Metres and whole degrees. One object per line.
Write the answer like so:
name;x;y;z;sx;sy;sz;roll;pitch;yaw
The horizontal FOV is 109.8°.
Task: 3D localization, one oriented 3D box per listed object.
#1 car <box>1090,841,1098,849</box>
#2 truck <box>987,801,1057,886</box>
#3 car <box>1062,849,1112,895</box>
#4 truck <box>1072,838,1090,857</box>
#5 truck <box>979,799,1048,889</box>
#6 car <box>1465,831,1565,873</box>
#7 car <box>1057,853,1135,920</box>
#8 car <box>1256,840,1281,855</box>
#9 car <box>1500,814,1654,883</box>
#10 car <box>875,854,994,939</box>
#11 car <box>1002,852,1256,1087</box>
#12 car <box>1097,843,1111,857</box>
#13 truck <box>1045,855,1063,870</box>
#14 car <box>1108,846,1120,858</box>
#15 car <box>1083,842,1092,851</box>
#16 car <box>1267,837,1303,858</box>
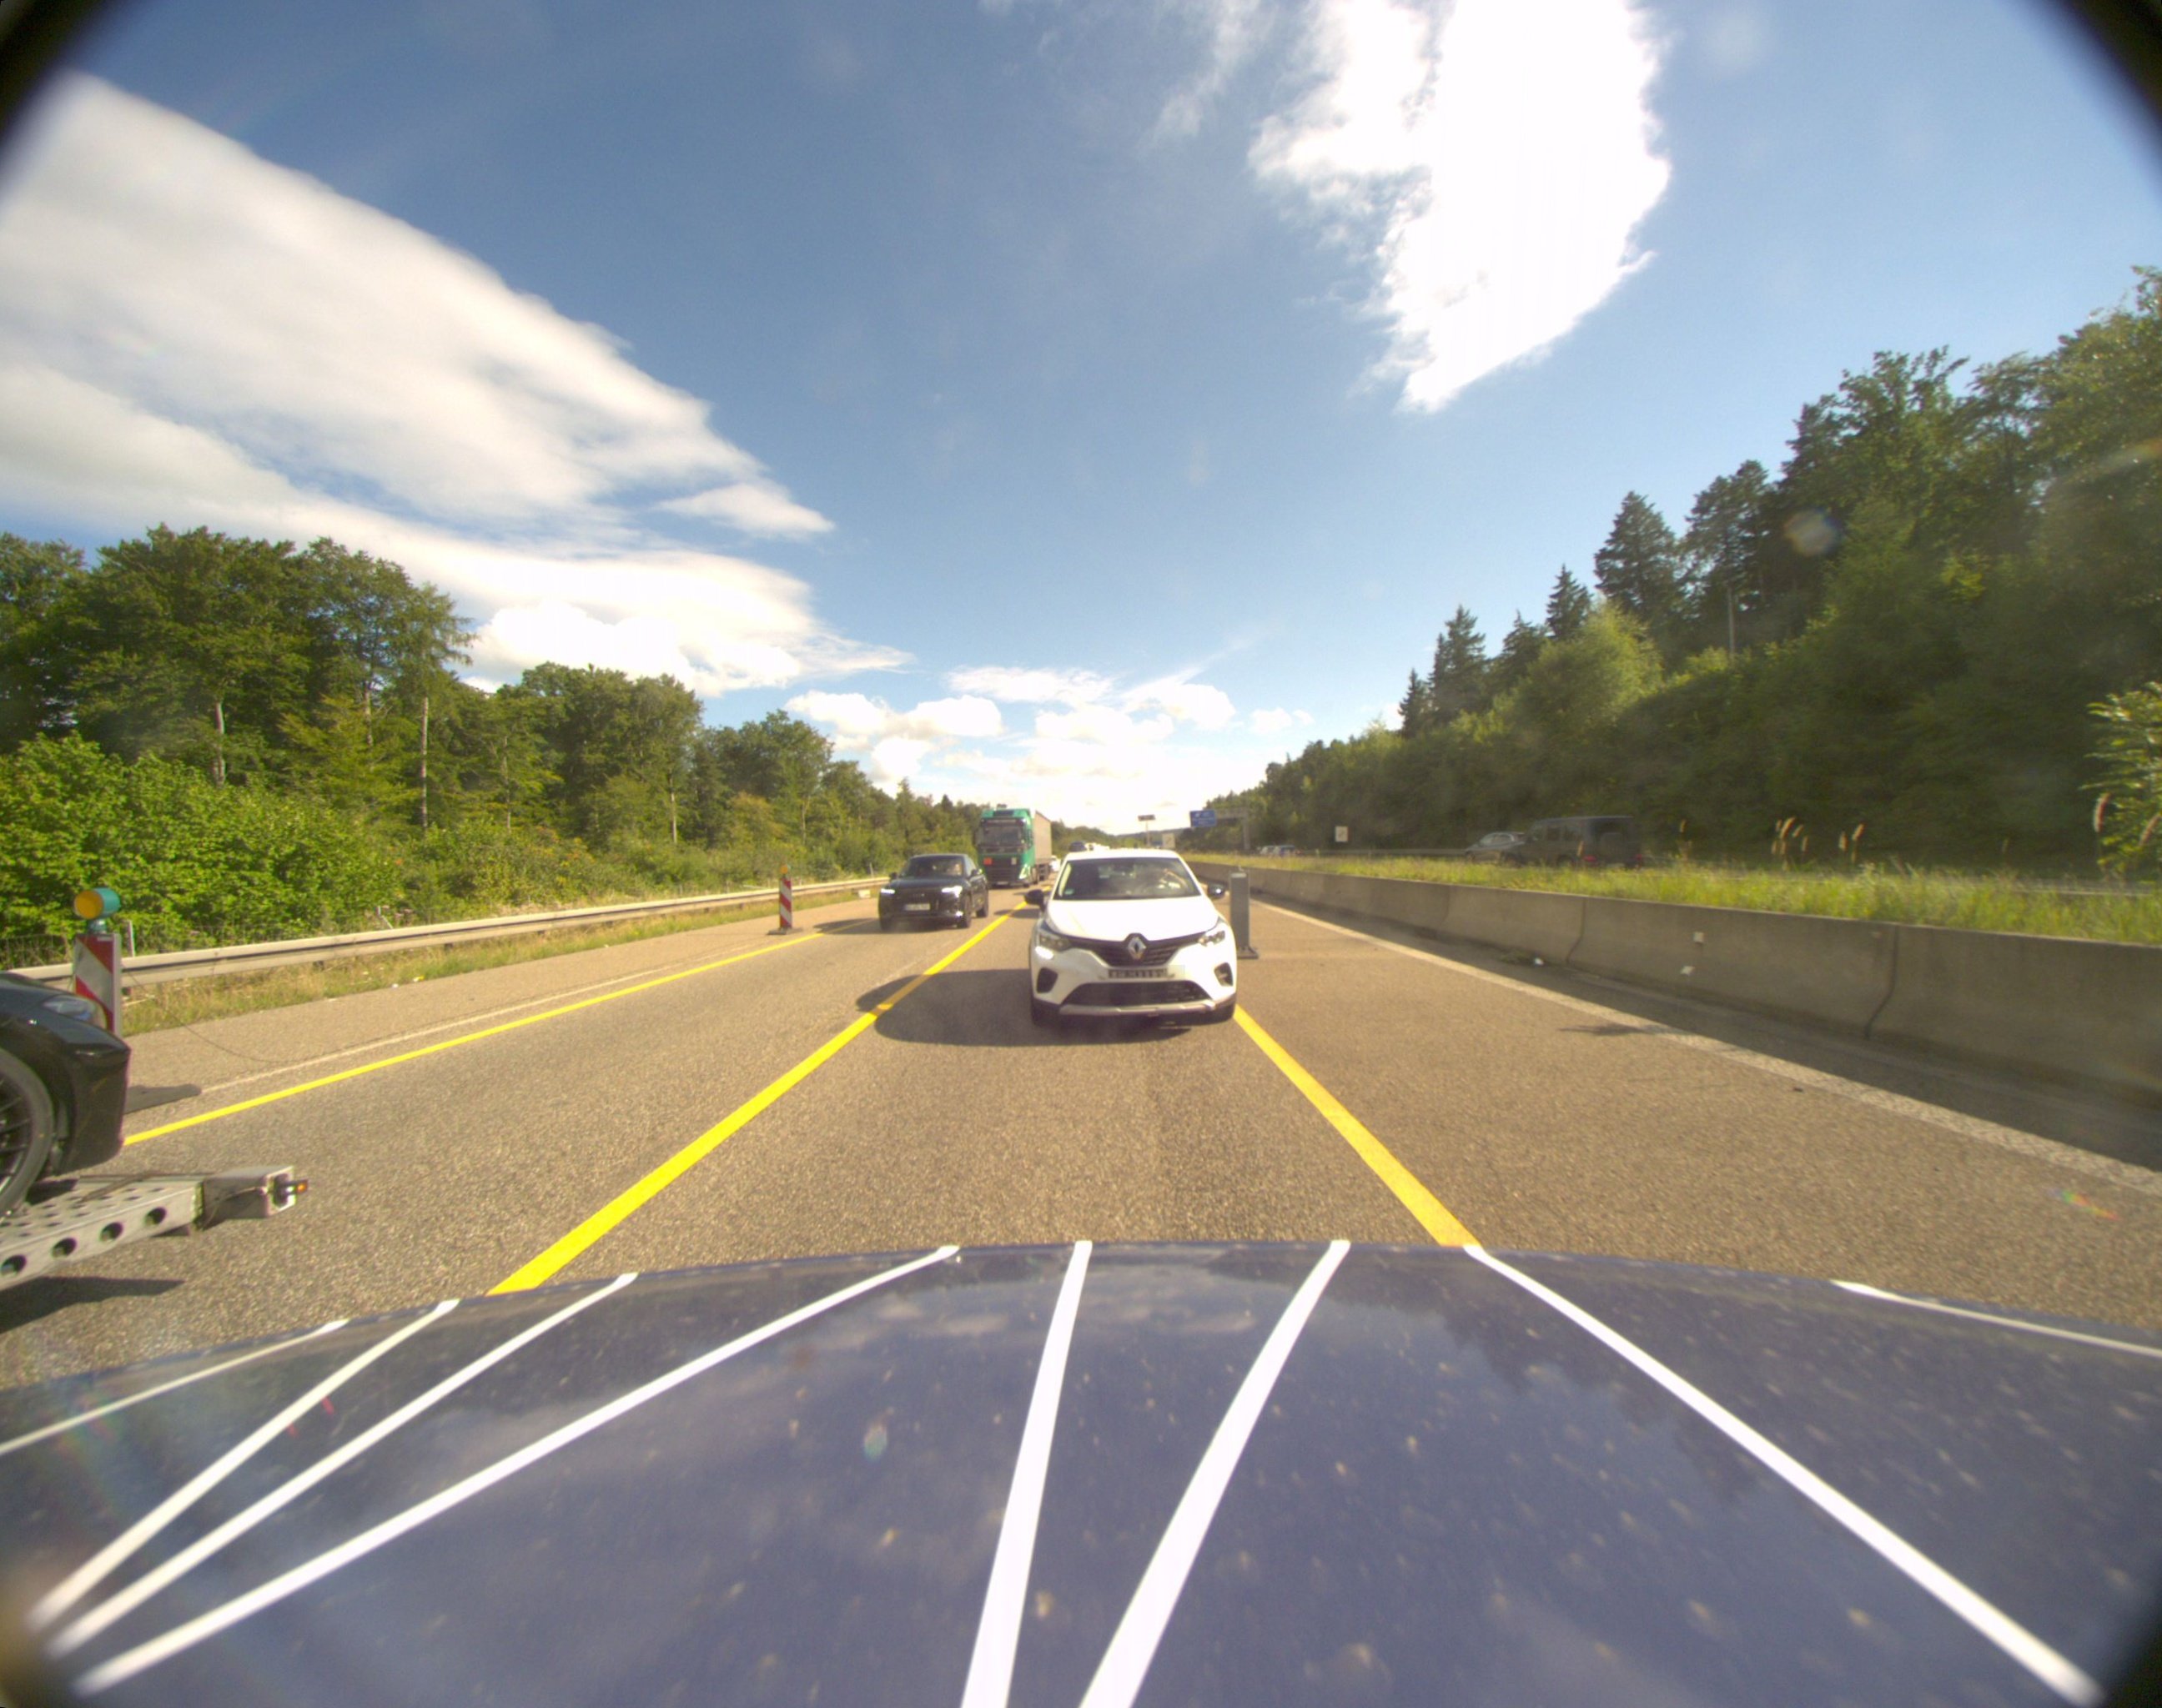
car;3.121;-2.183;183.352;1.750;1.787;3.999;-2;1;0
truck;-3.155;-0.533;44.845;2.470;4.119;14.211;-2;0;2
car;0.248;0.668;30.081;1.782;1.593;4.017;-2;1;1
truck;0.058;-1.178;131.120;2.576;3.168;6.802;-2;1;3
truck;-3.270;-0.513;38.580;2.527;4.076;6.856;-2;1;2
car;18.978;-0.120;33.516;1.782;1.679;4.616;-2;1;1
car;0.372;0.777;19.989;1.782;1.468;4.017;-2;1;1
car;20.527;-0.707;83.365;1.782;1.593;4.017;-2;1;1
car;15.204;-0.187;23.652;1.782;1.891;4.616;-2;1;1
car;-3.192;0.849;17.443;1.782;1.593;4.293;-2;1;1
car;0.373;0.838;7.512;1.782;1.593;4.017;-2;1;1
car;3.609;-0.656;118.670;1.998;2.002;3.999;-2;1;1
truck;-2.359;0.751;67.108;1.468;1.215;3.087;-2;1;-2
car;5.746;-0.381;134.032;1.998;2.002;4.000;-2;1;3
car;1.339;-1.672;161.620;1.750;1.787;3.999;-2;1;0
car;16.815;-0.541;62.788;1.782;1.593;4.311;-2;1;1
